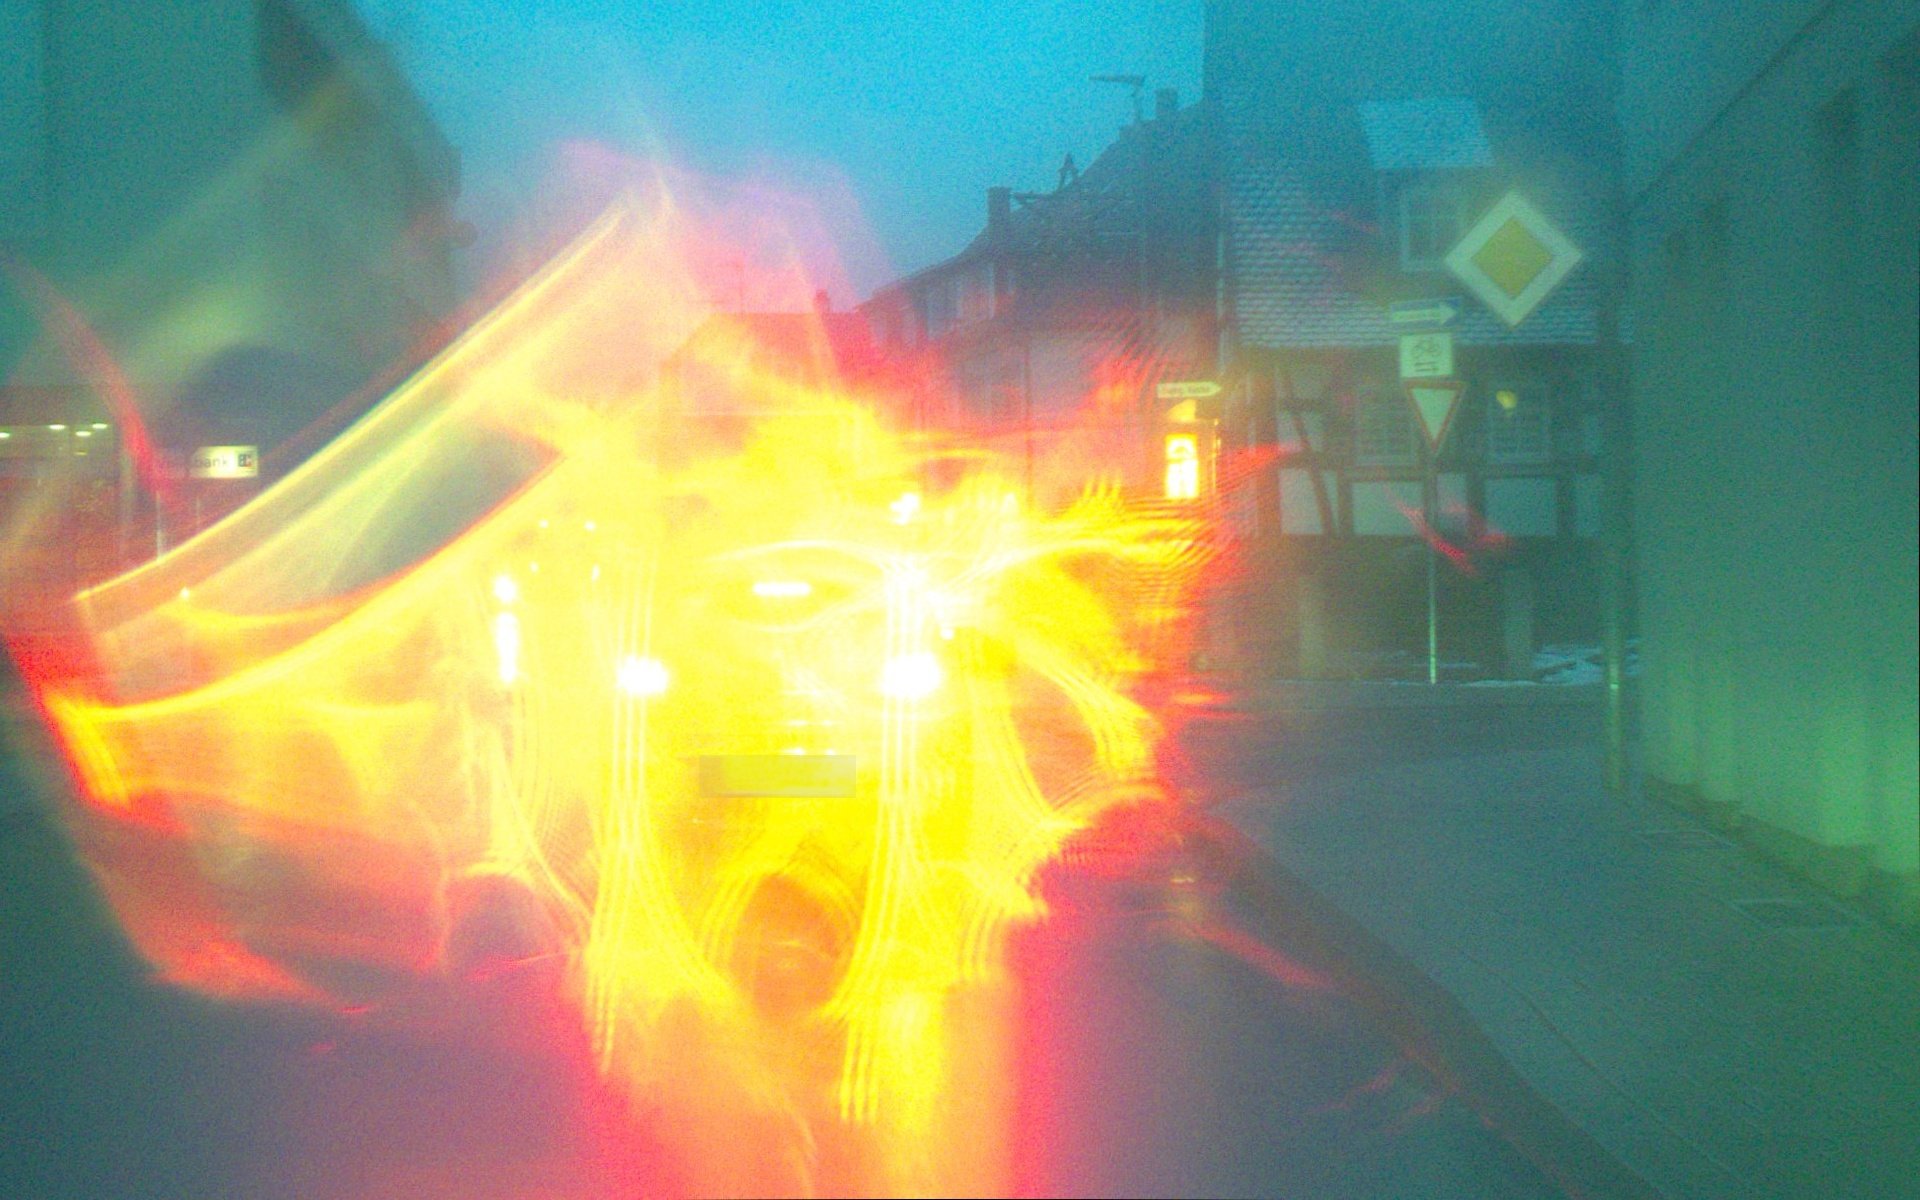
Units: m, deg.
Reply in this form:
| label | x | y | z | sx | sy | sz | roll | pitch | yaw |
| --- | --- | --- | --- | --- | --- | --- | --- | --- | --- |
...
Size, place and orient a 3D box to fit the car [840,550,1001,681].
| label | x | y | z | sx | sy | sz | roll | pitch | yaw |
| --- | --- | --- | --- | --- | --- | --- | --- | --- | --- |
| car | -0.529 | 0.166 | 42.445 | 1.732 | 1.454 | 4.001 | -3 | 1 | -3 |

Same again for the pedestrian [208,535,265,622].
| label | x | y | z | sx | sy | sz | roll | pitch | yaw |
| --- | --- | --- | --- | --- | --- | --- | --- | --- | --- |
| pedestrian | -11.063 | -0.327 | 52.603 | 0.755 | 1.306 | 0.828 | 1 | 0 | -5 |

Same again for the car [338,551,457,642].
| label | x | y | z | sx | sy | sz | roll | pitch | yaw |
| --- | --- | --- | --- | --- | --- | --- | --- | --- | --- |
| car | -9.849 | -0.081 | 60.423 | 1.615 | 1.527 | 3.929 | 1 | 1 | -3 |

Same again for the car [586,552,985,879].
| label | x | y | z | sx | sy | sz | roll | pitch | yaw |
| --- | --- | --- | --- | --- | --- | --- | --- | --- | --- |
| car | -0.781 | 0.489 | 17.200 | 1.770 | 1.442 | 3.727 | 0 | 1 | 0 |

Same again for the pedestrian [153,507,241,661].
| label | x | y | z | sx | sy | sz | roll | pitch | yaw |
| --- | --- | --- | --- | --- | --- | --- | --- | --- | --- |
| pedestrian | -9.773 | -0.215 | 43.987 | 0.973 | 1.931 | 1.203 | -1 | 1 | -17 |

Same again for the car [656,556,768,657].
| label | x | y | z | sx | sy | sz | roll | pitch | yaw |
| --- | --- | --- | --- | --- | --- | --- | --- | --- | --- |
| car | -3.757 | 0.085 | 52.352 | 1.638 | 1.476 | 3.379 | 0 | 0 | -4 |

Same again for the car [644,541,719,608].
| label | x | y | z | sx | sy | sz | roll | pitch | yaw |
| --- | --- | --- | --- | --- | --- | --- | --- | --- | --- |
| car | -6.343 | -0.602 | 78.593 | 1.638 | 1.476 | 3.272 | 1 | 1 | -4 |

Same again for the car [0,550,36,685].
| label | x | y | z | sx | sy | sz | roll | pitch | yaw |
| --- | --- | --- | --- | --- | --- | --- | --- | --- | --- |
| car | -12.111 | 0.244 | 40.330 | 1.763 | 1.494 | 4.452 | -2 | 2 | -6 |

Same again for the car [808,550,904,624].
| label | x | y | z | sx | sy | sz | roll | pitch | yaw |
| --- | --- | --- | --- | --- | --- | --- | --- | --- | --- |
| car | -2.281 | -0.295 | 74.280 | 1.794 | 1.455 | 4.531 | -3 | 1 | -5 |

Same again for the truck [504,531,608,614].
| label | x | y | z | sx | sy | sz | roll | pitch | yaw |
| --- | --- | --- | --- | --- | --- | --- | --- | --- | --- |
| truck | -15.605 | -1.075 | 132.399 | 3.014 | 3.118 | 8.002 | 0 | 1 | -14 |
